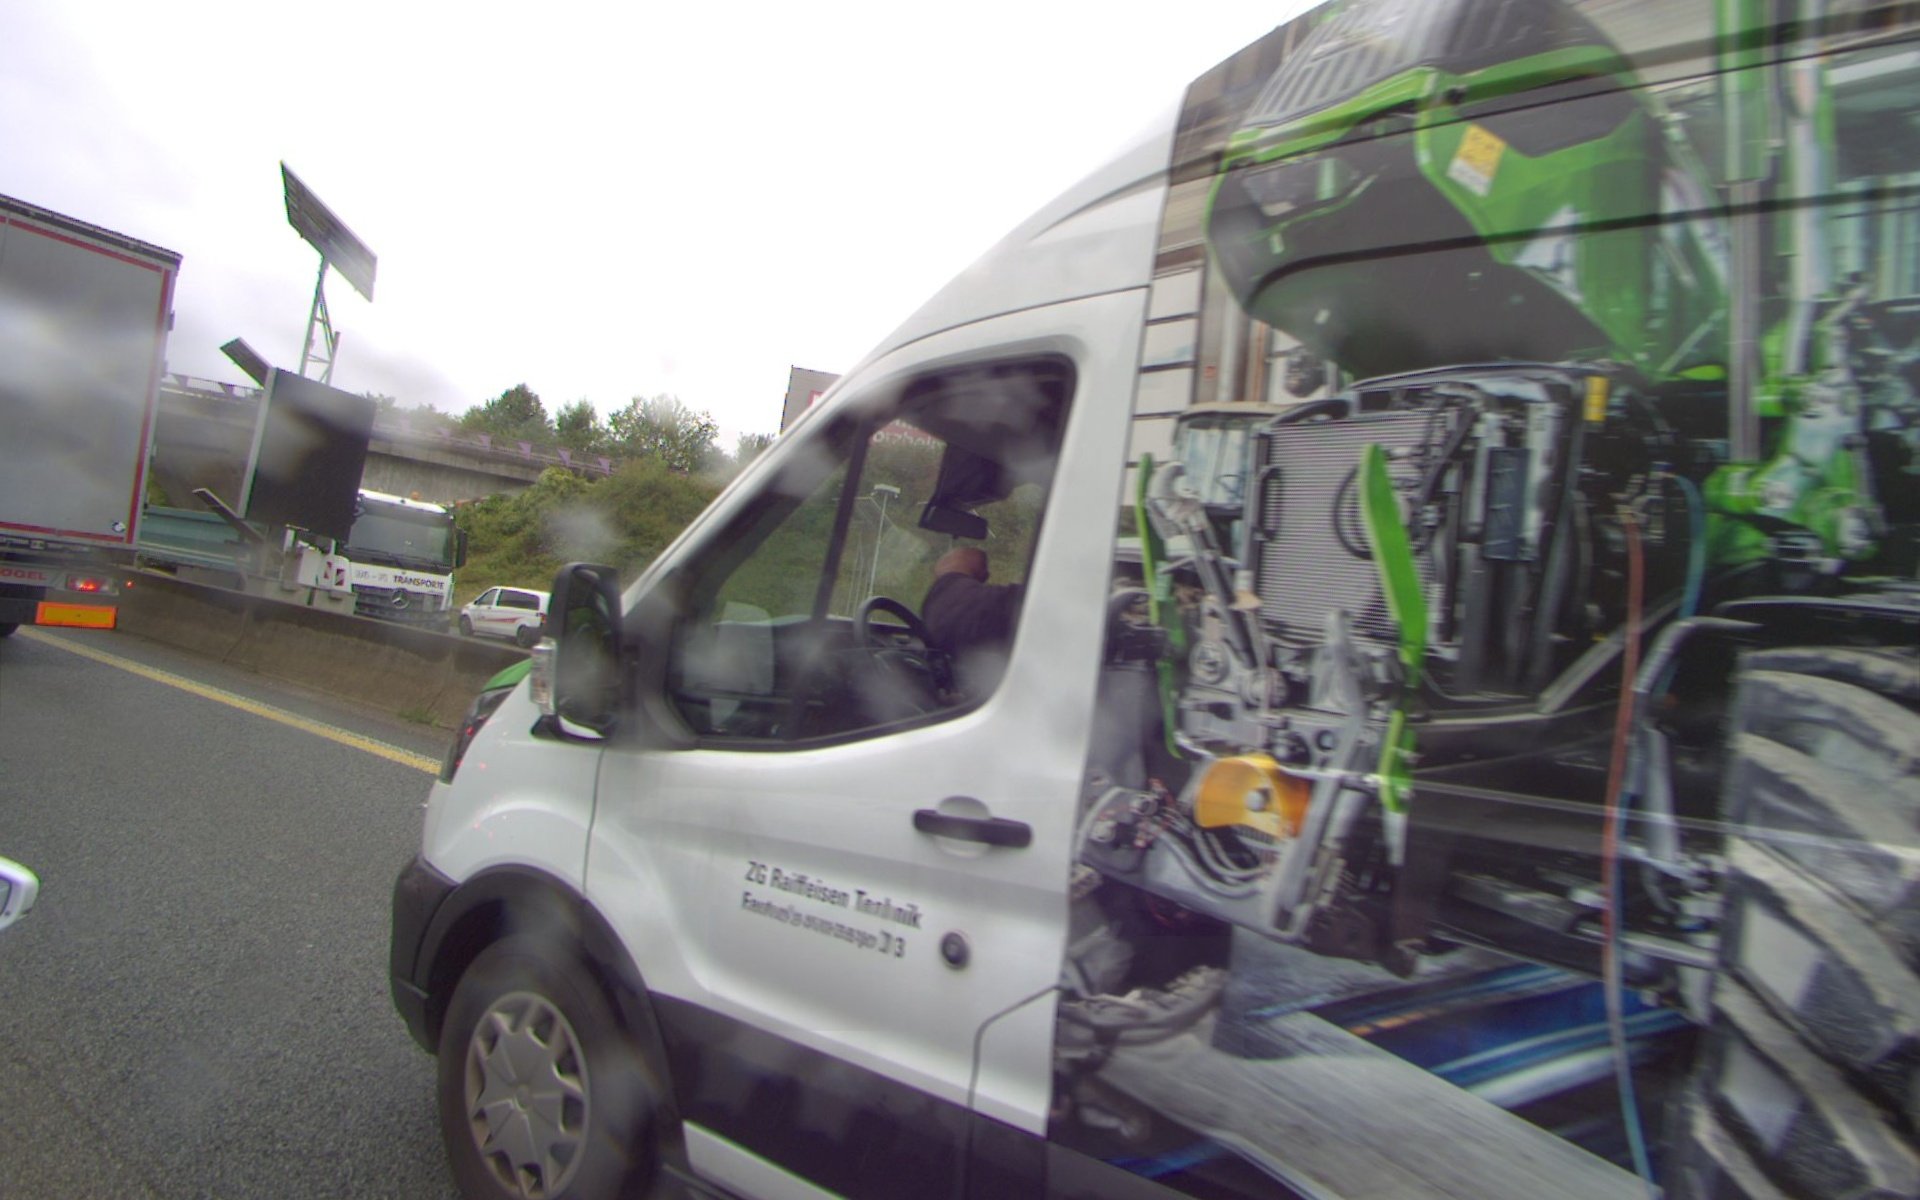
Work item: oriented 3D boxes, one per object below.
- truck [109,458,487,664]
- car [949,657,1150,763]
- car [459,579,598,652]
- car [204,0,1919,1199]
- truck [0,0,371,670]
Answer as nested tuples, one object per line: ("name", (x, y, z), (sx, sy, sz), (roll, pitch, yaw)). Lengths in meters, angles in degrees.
("truck", (-13.500, -0.913, 20.156), (8.968, 3.168, 2.525), (6, -1, 32))
("car", (2.063, 2.526, 23.571), (4.197, 1.778, 1.732), (6, -2, 31))
("car", (-14.618, 0.521, 34.016), (4.651, 1.850, 1.945), (6, -2, 34))
("car", (1.189, 0.279, 1.996), (6.018, 2.707, 2.147), (6, -1, 33))
("truck", (-15.888, -3.263, 14.003), (20.040, 5.739, 3.986), (6, -1, 32))
